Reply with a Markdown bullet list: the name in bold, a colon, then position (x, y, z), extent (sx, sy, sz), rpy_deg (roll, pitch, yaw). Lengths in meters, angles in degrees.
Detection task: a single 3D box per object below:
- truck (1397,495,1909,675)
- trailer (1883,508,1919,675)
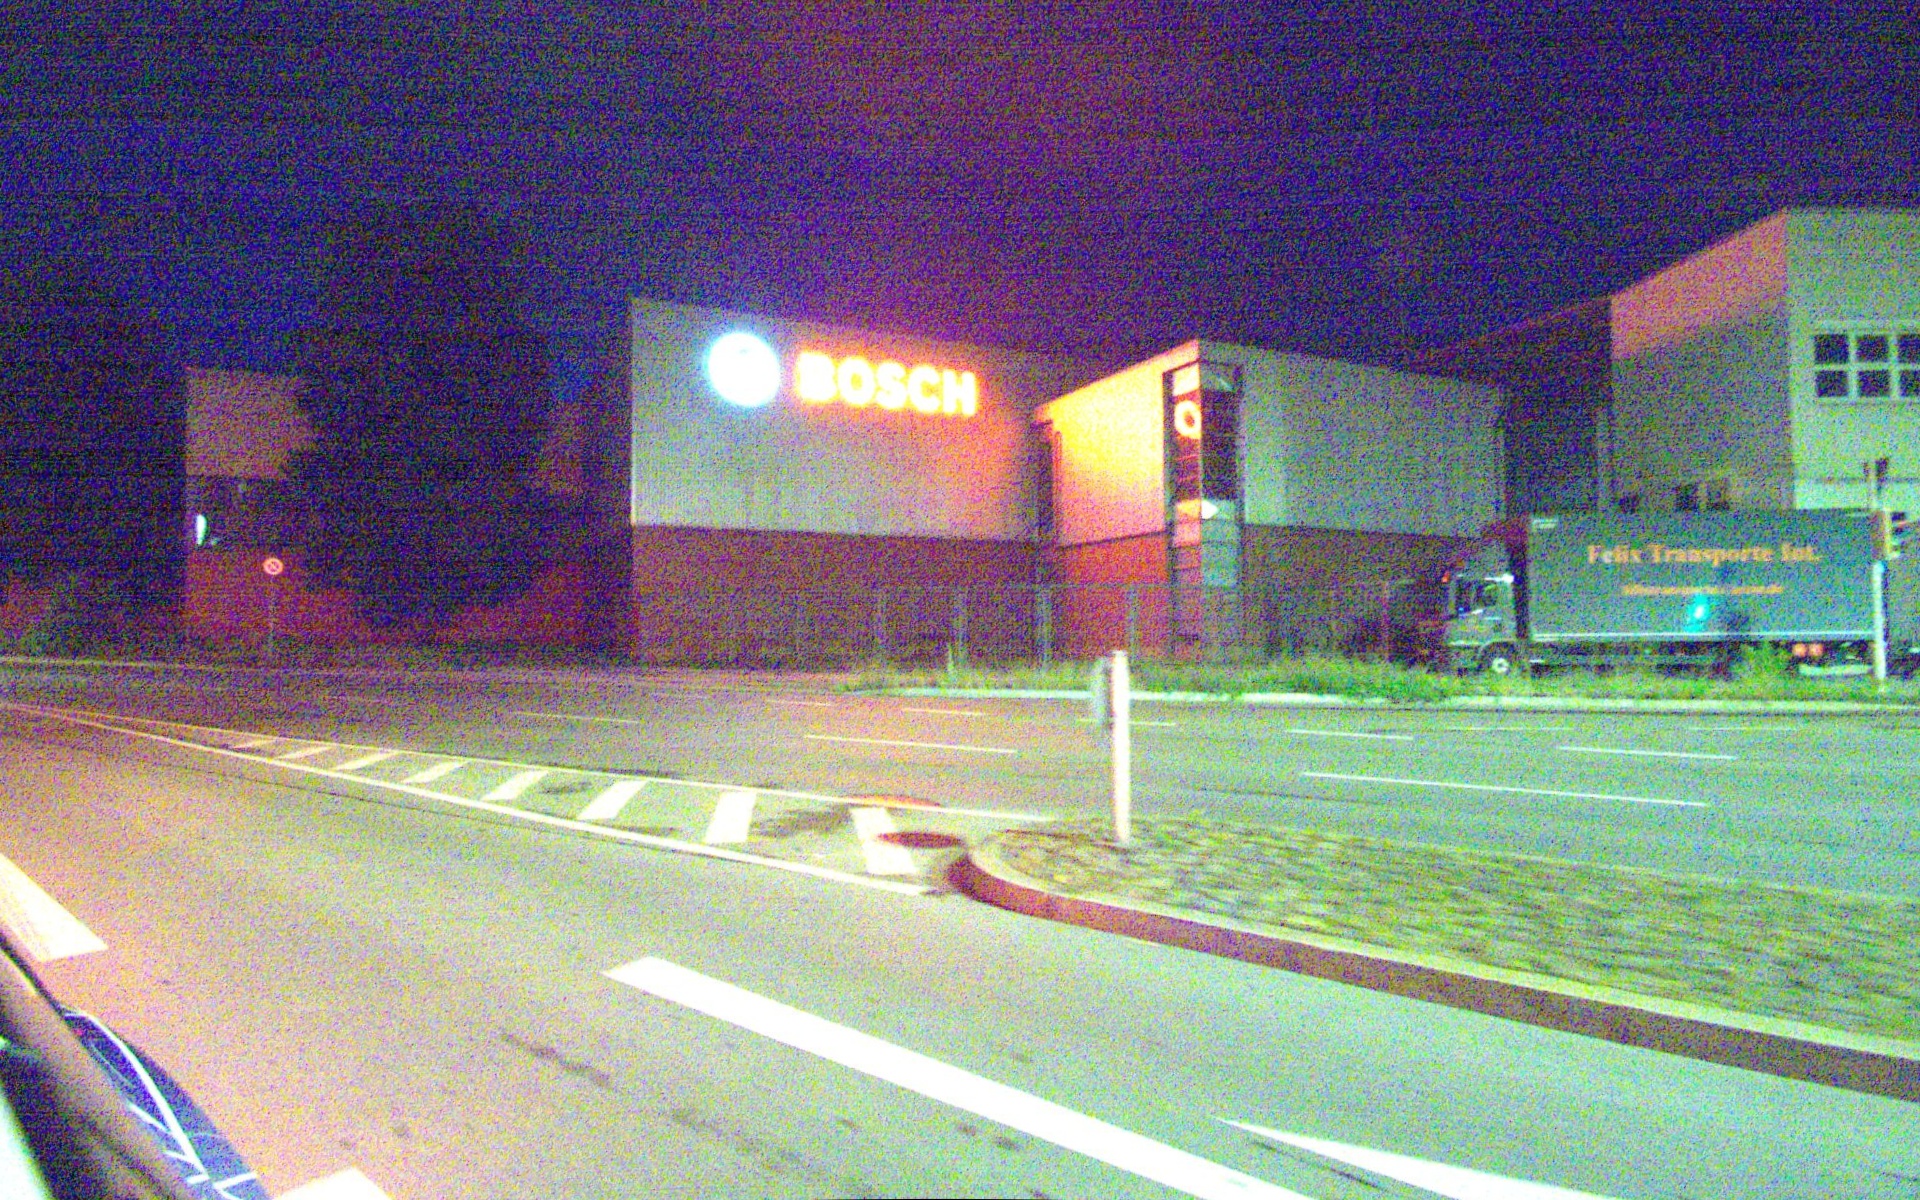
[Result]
- **truck**: position (15.542, -0.317, 23.464), extent (9.441, 3.825, 2.942), rpy_deg (0, -1, 7)
- **trailer**: position (25.233, -0.192, 22.658), extent (6.430, 3.819, 2.618), rpy_deg (0, -1, 5)
